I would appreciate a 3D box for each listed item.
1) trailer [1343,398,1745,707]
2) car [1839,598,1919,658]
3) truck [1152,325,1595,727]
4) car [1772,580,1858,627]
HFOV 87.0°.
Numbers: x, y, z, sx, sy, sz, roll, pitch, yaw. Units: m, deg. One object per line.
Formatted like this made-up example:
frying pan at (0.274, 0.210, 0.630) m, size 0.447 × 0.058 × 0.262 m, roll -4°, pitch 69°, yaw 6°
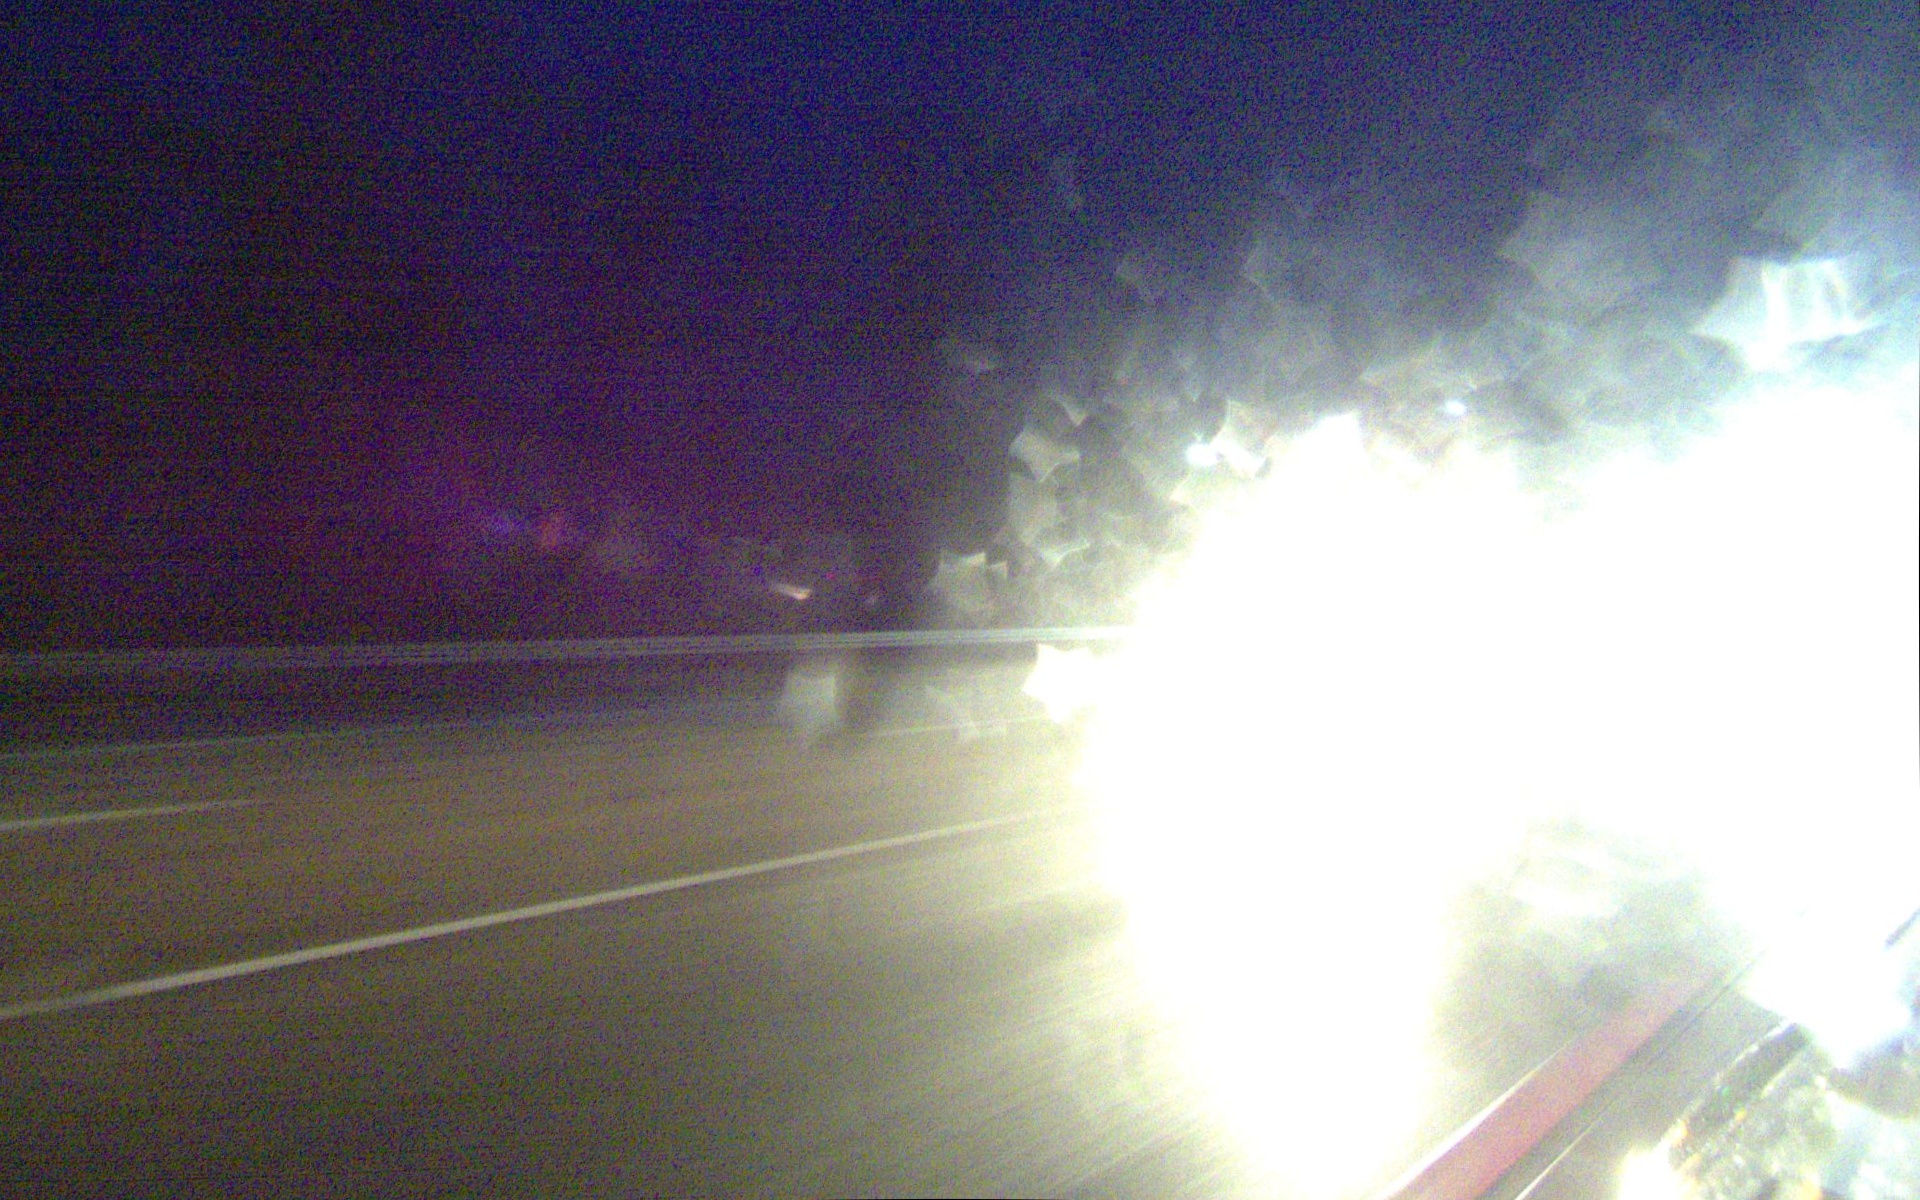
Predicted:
trailer at (11.493, -0.661, 18.944) m, size 11.884 × 4.265 × 2.808 m, roll 0°, pitch 0°, yaw -41°
car at (24.209, 0.683, 26.183) m, size 3.723 × 1.430 × 1.616 m, roll 0°, pitch 0°, yaw -39°
truck at (6.144, -0.805, 14.325) m, size 7.317 × 4.321 × 2.808 m, roll 0°, pitch 0°, yaw -41°
car at (39.308, 0.151, 46.471) m, size 5.309 × 1.999 × 2.051 m, roll 0°, pitch 1°, yaw -39°
